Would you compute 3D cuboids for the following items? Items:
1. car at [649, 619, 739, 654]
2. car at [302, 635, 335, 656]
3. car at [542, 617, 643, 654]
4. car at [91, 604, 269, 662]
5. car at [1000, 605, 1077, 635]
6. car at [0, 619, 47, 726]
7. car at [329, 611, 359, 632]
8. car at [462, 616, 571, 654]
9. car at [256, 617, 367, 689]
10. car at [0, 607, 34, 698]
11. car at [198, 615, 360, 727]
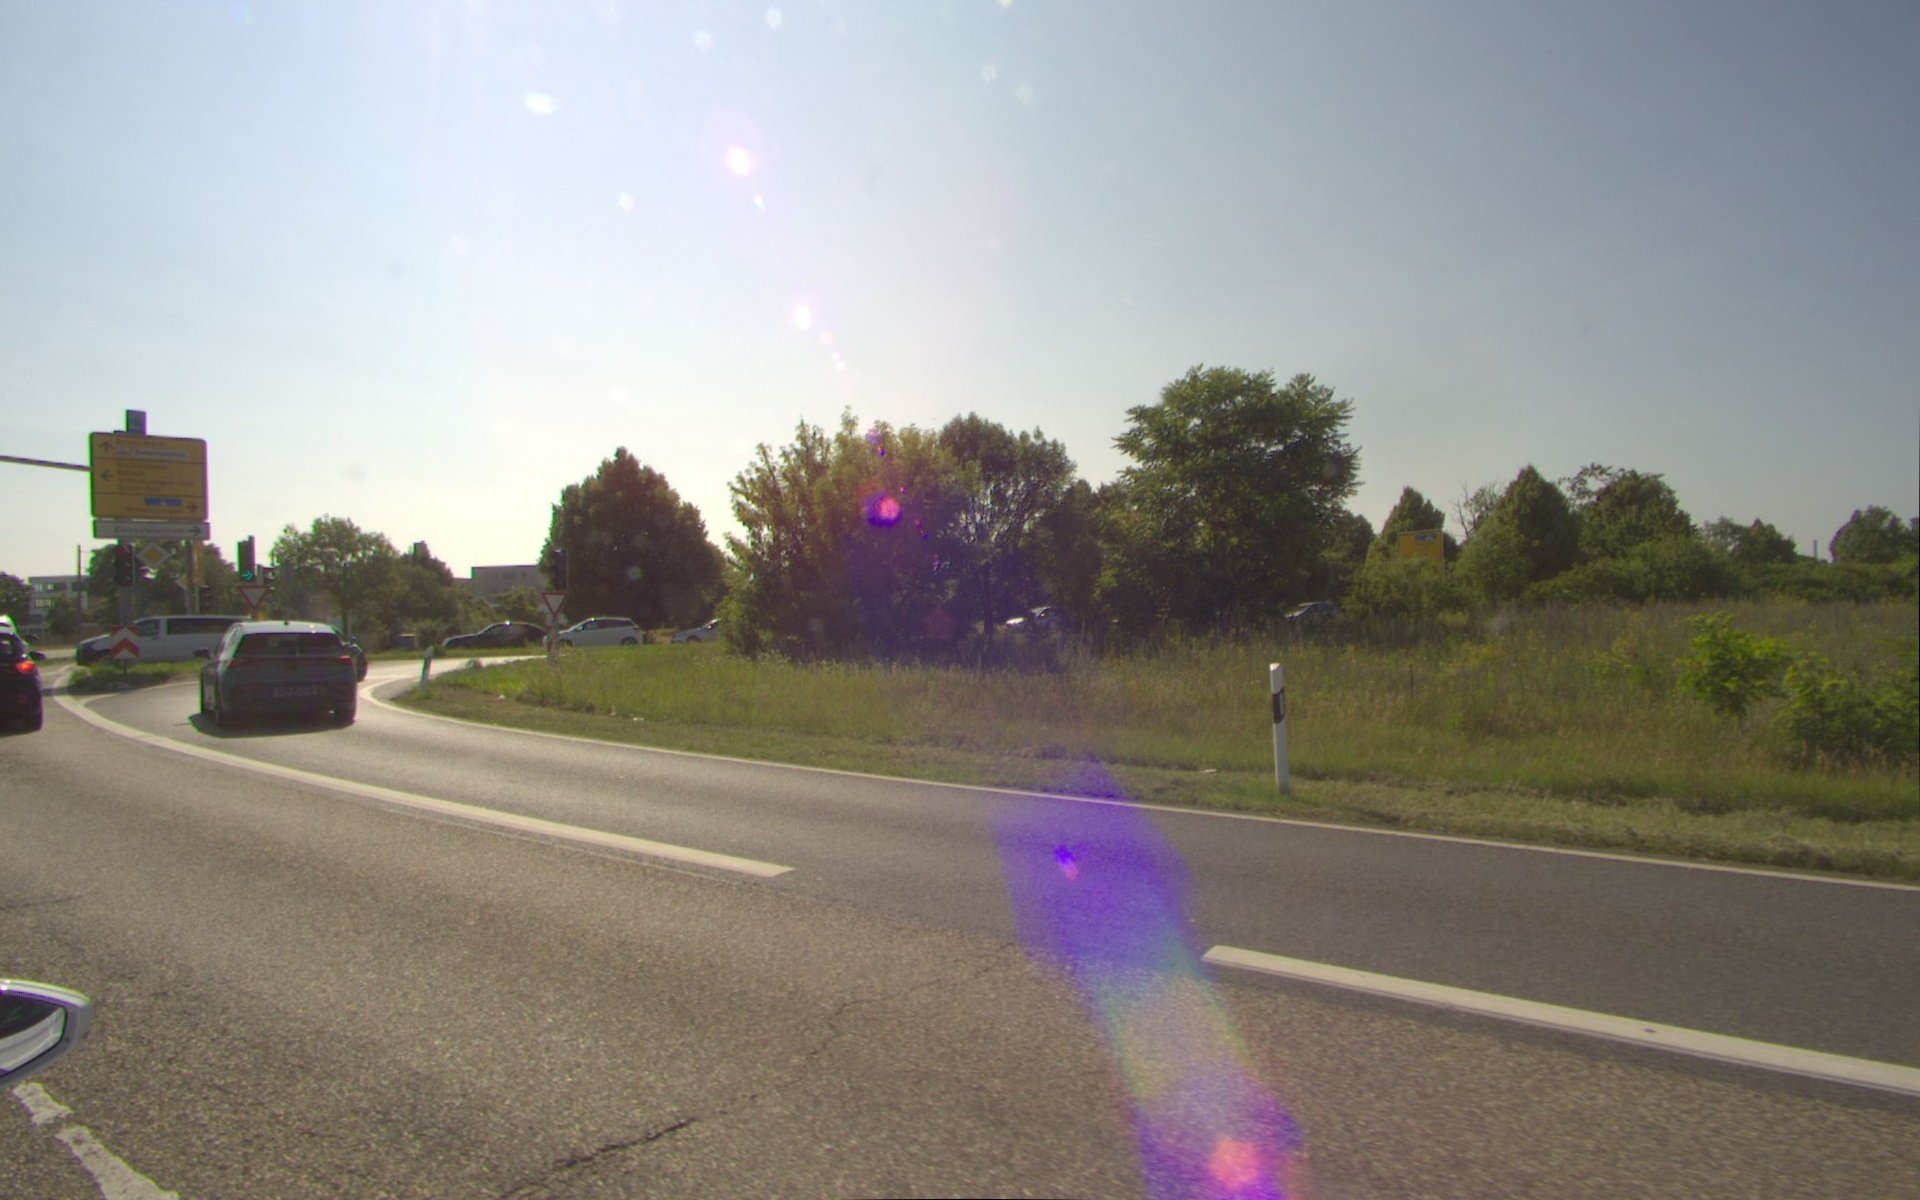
[{"bbox_3d":[-12.520,1.685,47.150,3.821,1.539,1.800,-1,0,-27],"label":"car"},{"bbox_3d":[-51.866,3.657,81.055,1.854,1.694,3.755,1,-2,-27],"label":"car"},{"bbox_3d":[-15.338,1.451,41.780,3.851,1.484,1.717,0,-1,-26],"label":"car"},{"bbox_3d":[-27.717,1.181,35.834,4.885,1.943,1.987,1,-1,-35],"label":"car"},{"bbox_3d":[4.306,1.080,55.062,3.818,1.539,1.801,-1,0,-24],"label":"car"},{"bbox_3d":[-14.525,1.015,14.604,3.261,1.467,1.623,-1,-2,45],"label":"car"},{"bbox_3d":[-65.752,2.365,106.990,1.904,2.164,4.628,1,-2,-22],"label":"car"},{"bbox_3d":[-19.434,1.504,43.945,4.269,1.539,1.800,-1,0,-27],"label":"car"},{"bbox_3d":[-14.466,1.108,22.512,1.621,1.404,3.983,-1,0,-26],"label":"car"},{"bbox_3d":[-19.414,1.007,19.684,3.711,1.698,1.623,-2,-2,45],"label":"car"},{"bbox_3d":[-11.047,1.034,16.130,1.759,1.537,4.064,1,-1,-40],"label":"car"}]
